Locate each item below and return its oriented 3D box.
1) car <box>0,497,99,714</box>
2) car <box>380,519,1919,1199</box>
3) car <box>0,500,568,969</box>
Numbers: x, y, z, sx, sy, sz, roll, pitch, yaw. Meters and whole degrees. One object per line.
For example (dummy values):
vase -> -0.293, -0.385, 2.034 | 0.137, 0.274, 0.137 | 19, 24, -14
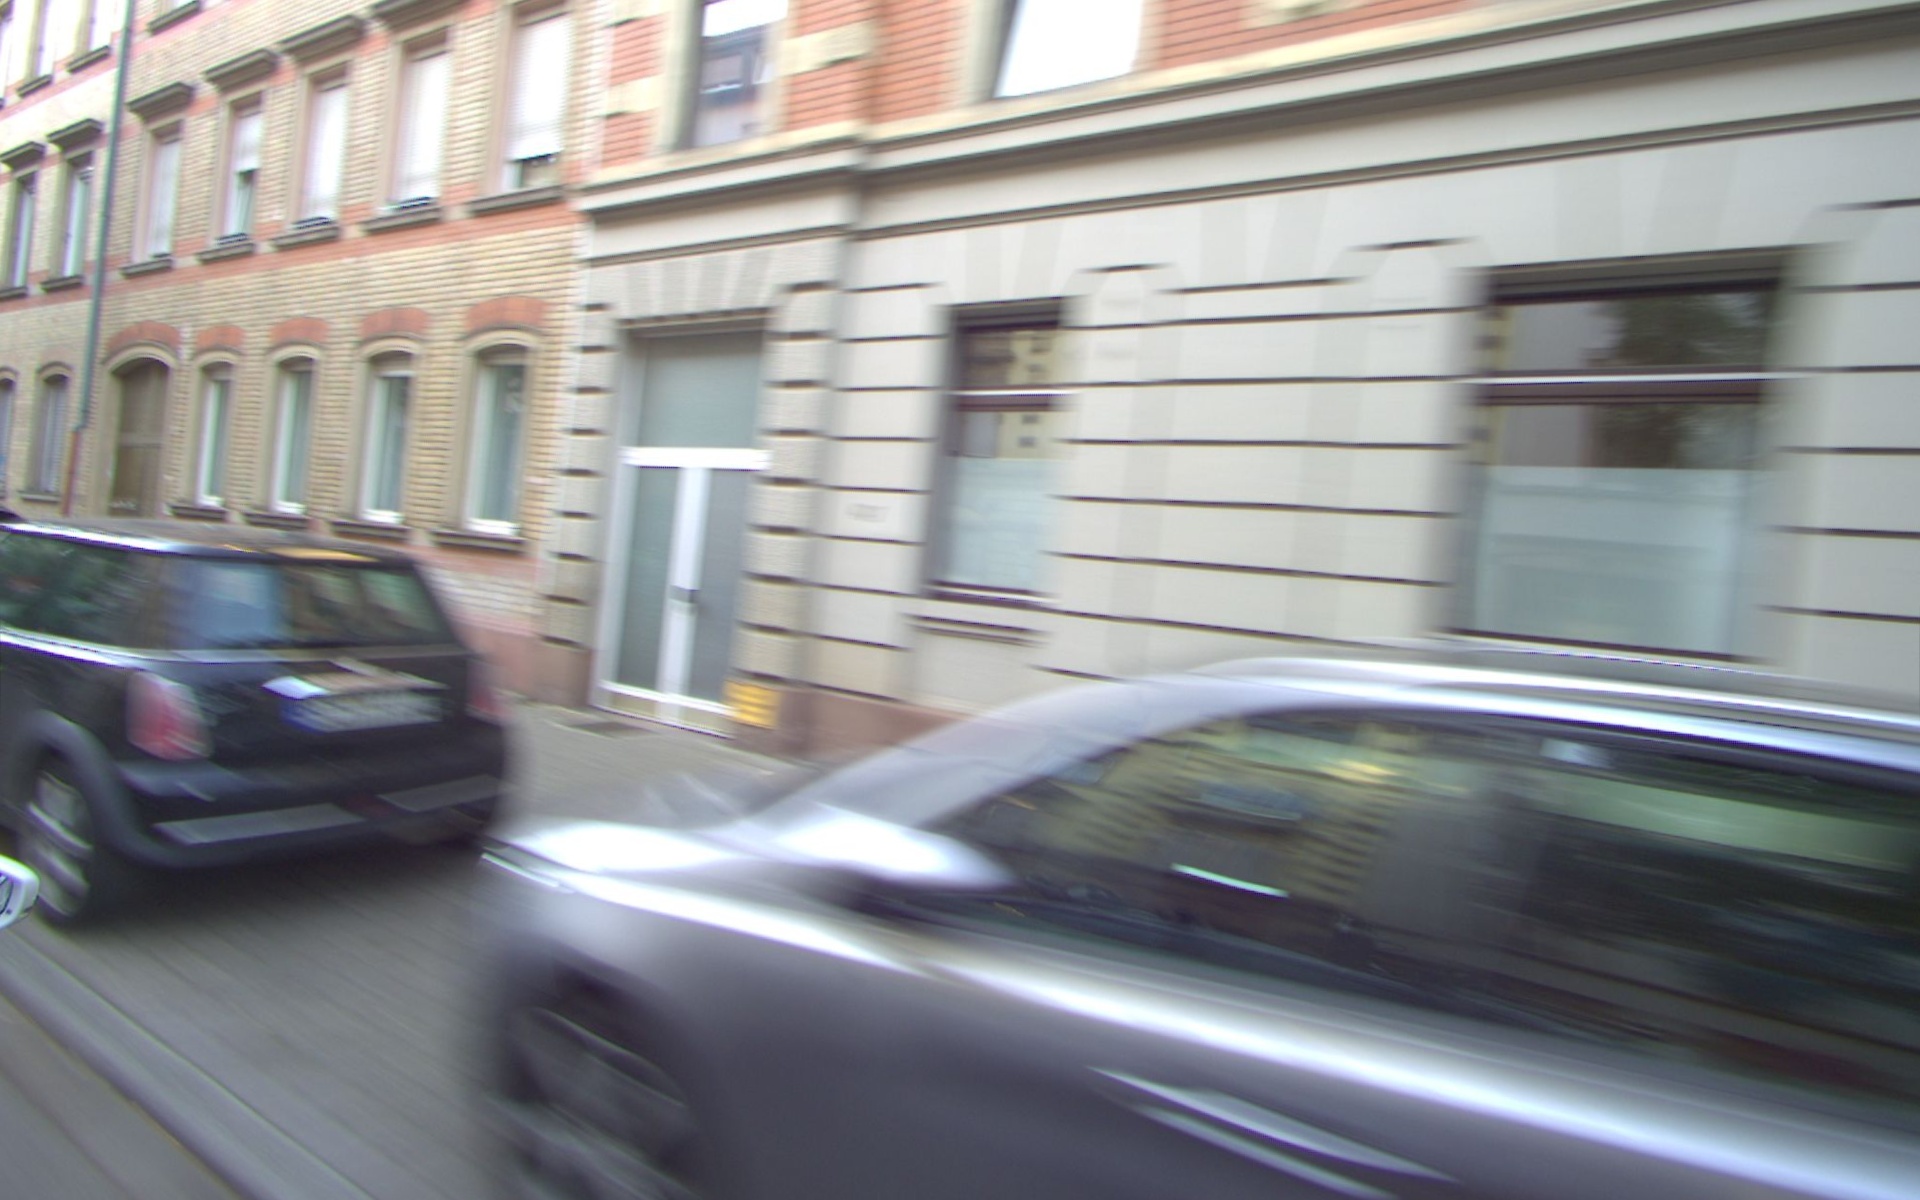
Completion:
car -> -8.409, -0.165, 7.475 | 4.399, 1.433, 1.767 | 6, 2, 32
car -> 0.993, 0.796, 2.009 | 4.293, 1.495, 1.718 | 6, 1, 29
car -> -3.764, 0.335, 4.765 | 3.504, 1.442, 1.637 | 6, 1, 30
